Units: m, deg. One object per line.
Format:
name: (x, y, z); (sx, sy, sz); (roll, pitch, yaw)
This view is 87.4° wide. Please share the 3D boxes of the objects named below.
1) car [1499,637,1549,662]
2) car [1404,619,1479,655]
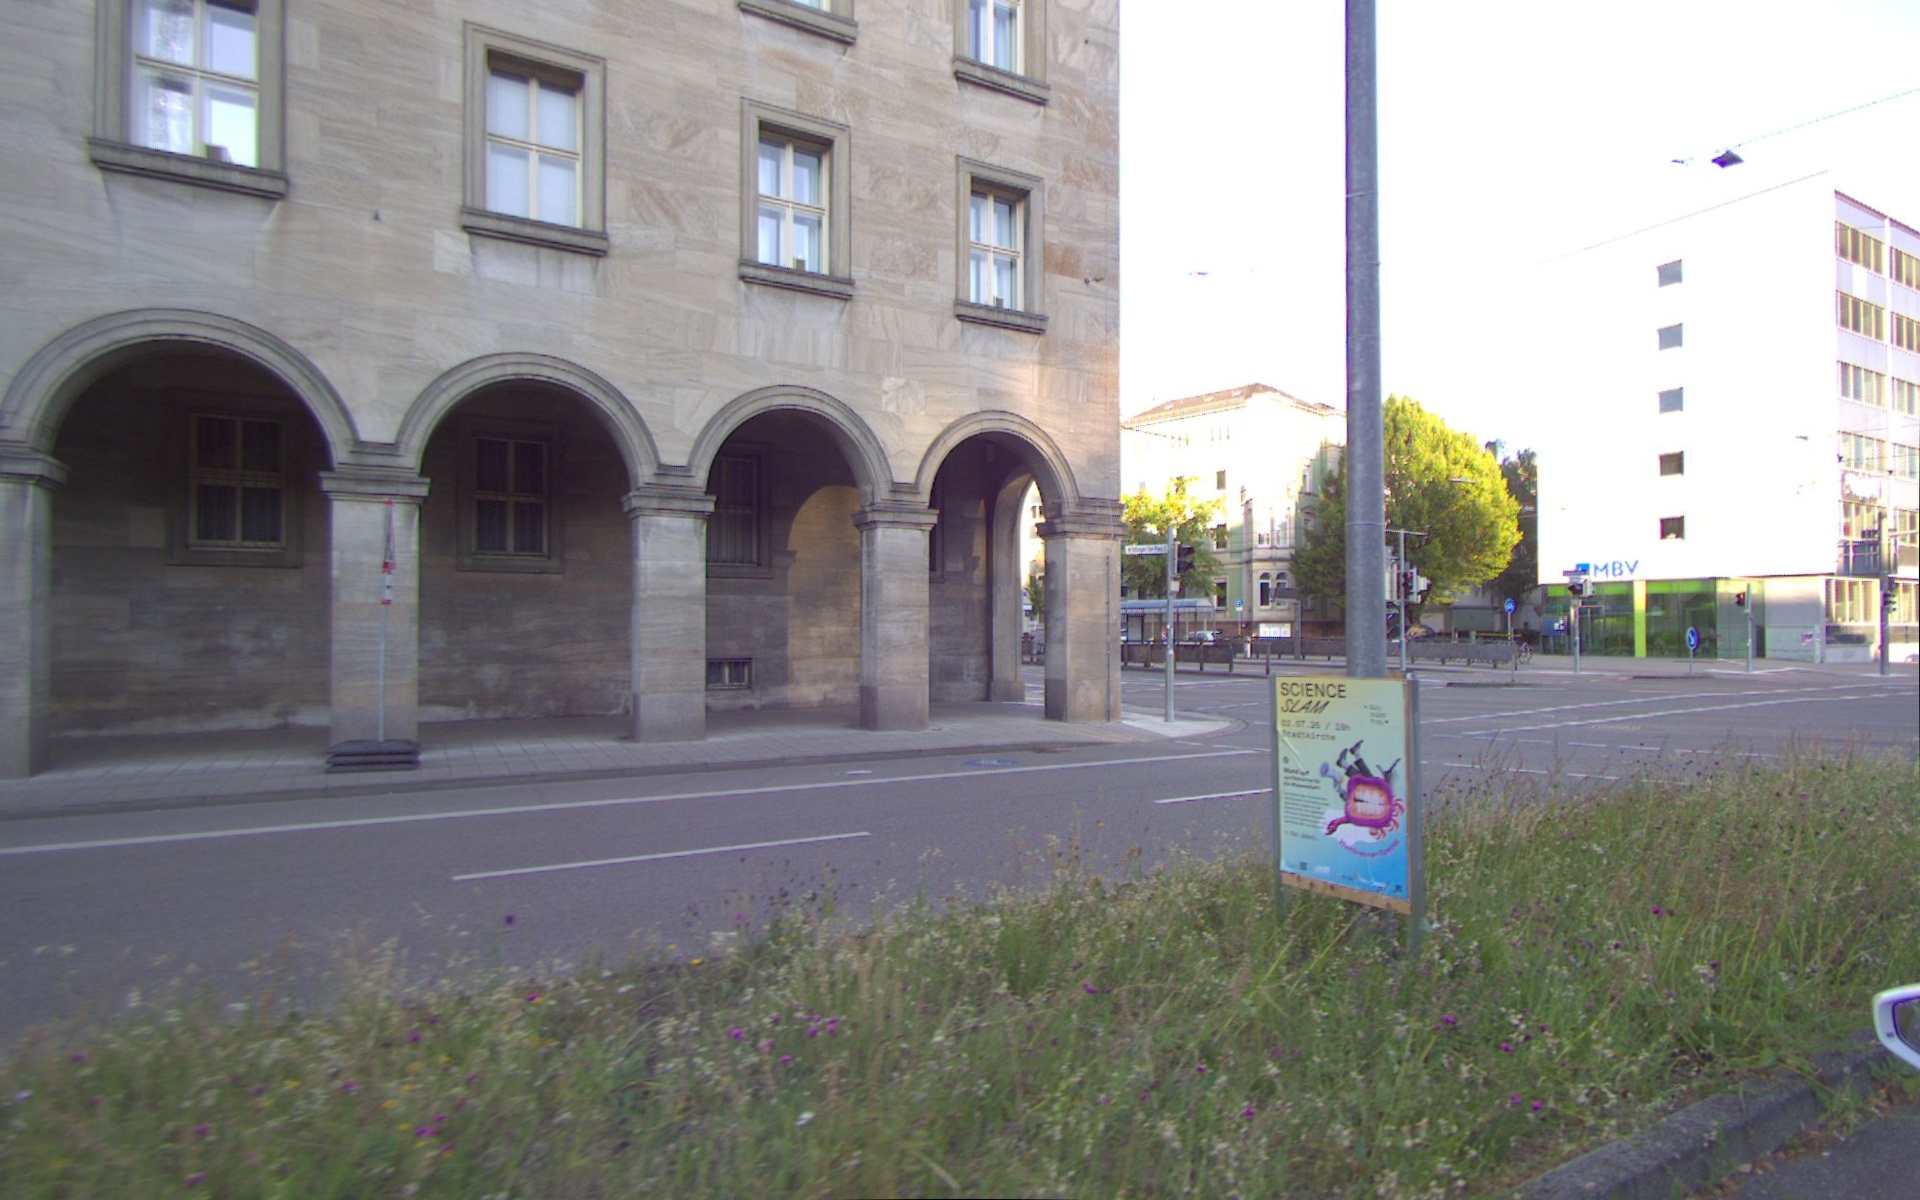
car: (25.639, 2.244, 45.659); (2.492, 1.088, 0.849); (1, -2, -31)
car: (27.652, 2.114, 57.681); (3.953, 2.040, 1.984); (1, -2, -31)
